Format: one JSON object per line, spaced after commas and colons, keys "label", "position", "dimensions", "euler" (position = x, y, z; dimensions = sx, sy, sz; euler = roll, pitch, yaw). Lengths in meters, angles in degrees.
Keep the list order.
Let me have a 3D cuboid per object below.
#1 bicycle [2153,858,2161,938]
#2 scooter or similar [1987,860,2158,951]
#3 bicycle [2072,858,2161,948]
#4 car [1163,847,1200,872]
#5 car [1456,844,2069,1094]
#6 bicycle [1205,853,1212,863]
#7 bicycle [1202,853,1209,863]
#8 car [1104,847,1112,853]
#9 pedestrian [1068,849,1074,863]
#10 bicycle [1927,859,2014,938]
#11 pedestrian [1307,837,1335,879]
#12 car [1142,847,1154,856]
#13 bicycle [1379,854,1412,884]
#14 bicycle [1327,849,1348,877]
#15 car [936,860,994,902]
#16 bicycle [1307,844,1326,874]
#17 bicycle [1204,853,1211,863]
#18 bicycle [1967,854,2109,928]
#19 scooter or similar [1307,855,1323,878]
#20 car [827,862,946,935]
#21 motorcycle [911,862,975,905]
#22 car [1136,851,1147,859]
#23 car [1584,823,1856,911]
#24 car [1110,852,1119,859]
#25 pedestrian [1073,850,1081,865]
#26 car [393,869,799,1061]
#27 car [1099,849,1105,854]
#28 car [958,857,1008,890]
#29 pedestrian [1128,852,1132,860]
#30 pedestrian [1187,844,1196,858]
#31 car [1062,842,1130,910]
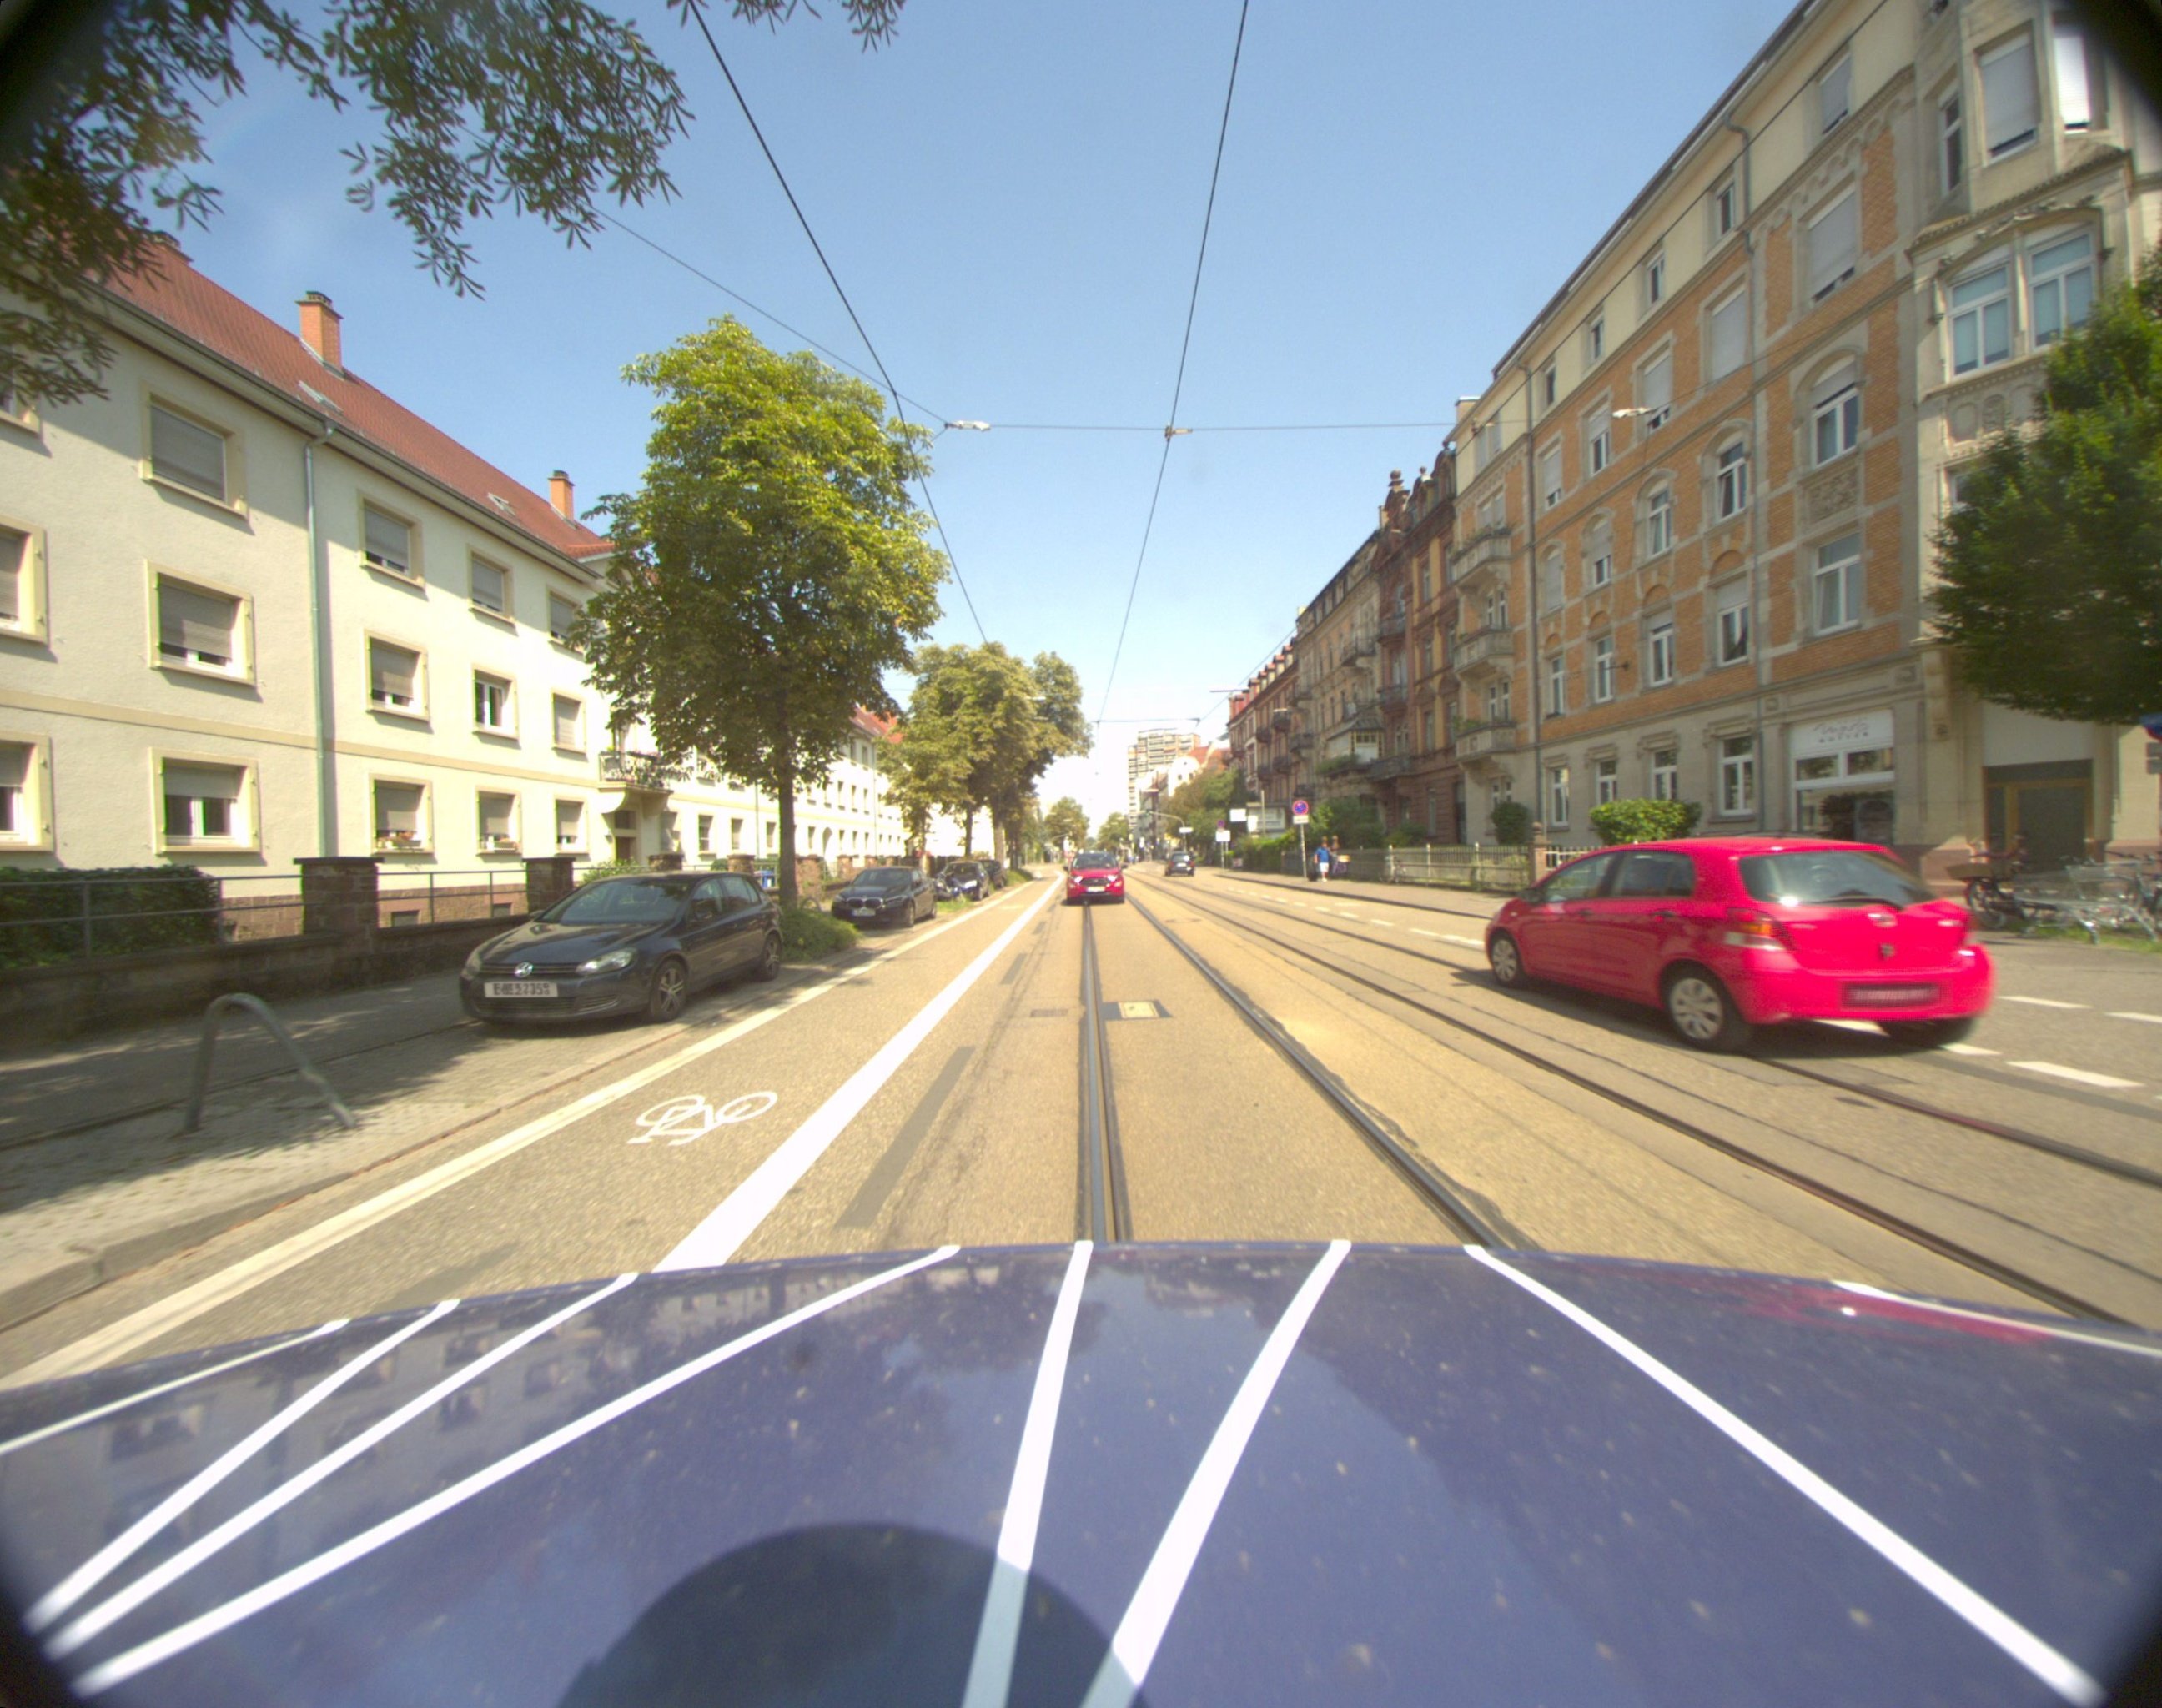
{"label": "bicycle", "position": [14.591, 0.602, 9.692], "dimensions": [0.389, 1.092, 1.454], "euler": [-2, 0, 26]}
{"label": "scooter or similar", "position": [13.131, 0.650, 10.126], "dimensions": [0.597, 1.092, 1.390], "euler": [-2, 0, 11]}
{"label": "bicycle", "position": [13.983, 0.619, 10.072], "dimensions": [0.389, 1.092, 1.454], "euler": [-2, 0, 26]}
{"label": "car", "position": [6.451, 0.358, 49.285], "dimensions": [1.832, 1.531, 4.000], "euler": [-1, 0, 0]}
{"label": "car", "position": [5.122, 0.696, 6.604], "dimensions": [1.736, 1.481, 4.000], "euler": [-1, 0, 0]}
{"label": "bicycle", "position": [12.536, 0.379, 74.494], "dimensions": [0.488, 0.980, 1.657], "euler": [-2, 0, 3]}
{"label": "bicycle", "position": [12.989, 0.384, 79.122], "dimensions": [0.488, 1.015, 1.778], "euler": [-2, 0, 3]}
{"label": "car", "position": [7.248, -1.115, 204.728], "dimensions": [1.998, 1.716, 4.631], "euler": [-1, 0, 3]}
{"label": "pedestrian", "position": [-1.436, 0.268, 108.117], "dimensions": [0.674, 1.874, 0.923], "euler": [-1, 0, 11]}
{"label": "bicycle", "position": [13.426, 0.649, 11.463], "dimensions": [1.453, 1.092, 0.390], "euler": [-2, 0, -22]}
{"label": "pedestrian", "position": [10.207, 0.167, 32.281], "dimensions": [0.885, 1.746, 0.870], "euler": [-2, 1, 0]}
{"label": "car", "position": [13.315, -0.478, 150.375], "dimensions": [1.998, 1.716, 4.631], "euler": [-1, 0, 1]}
{"label": "bicycle", "position": [11.080, 0.514, 26.815], "dimensions": [0.391, 1.032, 1.833], "euler": [-2, 0, 1]}
{"label": "bicycle", "position": [11.050, 0.383, 32.736], "dimensions": [0.391, 1.141, 1.582], "euler": [-2, 0, 1]}
{"label": "car", "position": [-4.481, 1.011, 29.849], "dimensions": [1.621, 1.468, 4.039], "euler": [0, 0, 1]}
{"label": "bicycle", "position": [11.214, 0.245, 36.227], "dimensions": [0.391, 1.397, 1.582], "euler": [-2, 0, 1]}
{"label": "bicycle", "position": [12.714, 0.417, 76.241], "dimensions": [0.488, 0.936, 1.657], "euler": [-2, 0, 3]}
{"label": "bicycle", "position": [14.899, 0.579, 11.850], "dimensions": [1.449, 1.092, 0.391], "euler": [-2, 0, 11]}
{"label": "scooter or similar", "position": [10.035, 0.541, 32.560], "dimensions": [0.401, 0.977, 0.584], "euler": [-3, 1, -8]}
{"label": "car", "position": [-4.726, 1.022, 19.144], "dimensions": [1.760, 1.469, 4.457], "euler": [2, 1, 1]}
{"label": "motorcycle", "position": [-4.663, 0.986, 25.798], "dimensions": [2.009, 1.360, 0.782], "euler": [-1, 1, -2]}
{"label": "car", "position": [10.822, 0.149, 135.923], "dimensions": [1.731, 1.425, 4.177], "euler": [-1, 1, 4]}
{"label": "car", "position": [13.406, 0.261, 16.154], "dimensions": [4.111, 1.585, 1.879], "euler": [-2, 1, 2]}
{"label": "car", "position": [7.781, 0.324, 177.181], "dimensions": [1.998, 1.716, 4.631], "euler": [-1, 0, 2]}
{"label": "pedestrian", "position": [-0.530, 0.469, 102.377], "dimensions": [0.676, 1.874, 0.921], "euler": [-2, 1, -20]}
{"label": "car", "position": [-4.893, 0.980, 8.592], "dimensions": [1.760, 1.468, 4.386], "euler": [-2, 0, 0]}
{"label": "car", "position": [7.119, -0.708, 261.586], "dimensions": [1.998, 1.716, 4.631], "euler": [-1, 0, 1]}
{"label": "car", "position": [-4.825, 0.925, 37.845], "dimensions": [1.620, 1.521, 3.500], "euler": [0, 1, 7]}
{"label": "pedestrian", "position": [7.620, 0.244, 118.682], "dimensions": [0.480, 1.243, 0.648], "euler": [-2, 0, 1]}
{"label": "pedestrian", "position": [16.970, -0.436, 116.867], "dimensions": [1.094, 2.002, 1.036], "euler": [-3, 1, 0]}
{"label": "car", "position": [0.465, 0.598, 23.192], "dimensions": [1.803, 1.801, 4.416], "euler": [-2, 0, 1]}
